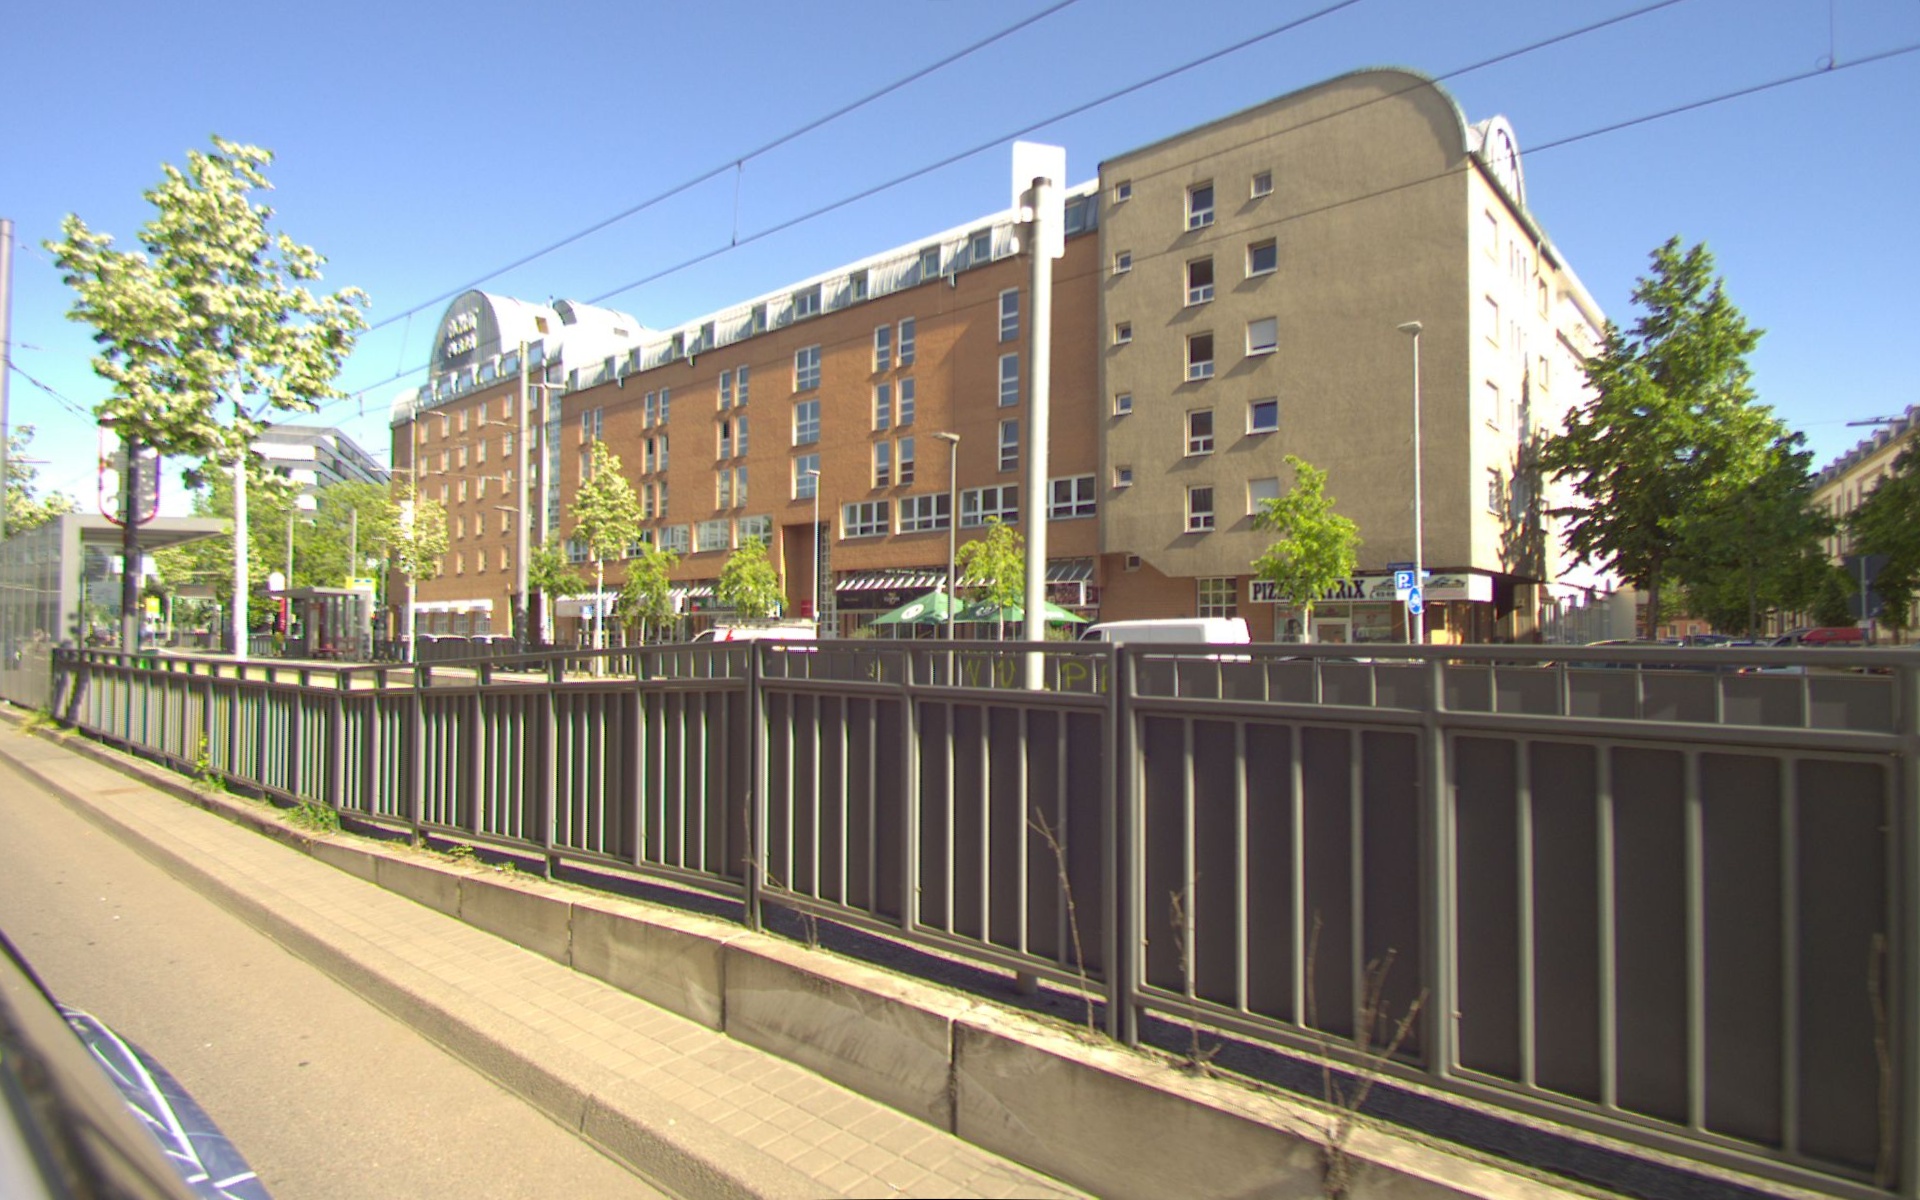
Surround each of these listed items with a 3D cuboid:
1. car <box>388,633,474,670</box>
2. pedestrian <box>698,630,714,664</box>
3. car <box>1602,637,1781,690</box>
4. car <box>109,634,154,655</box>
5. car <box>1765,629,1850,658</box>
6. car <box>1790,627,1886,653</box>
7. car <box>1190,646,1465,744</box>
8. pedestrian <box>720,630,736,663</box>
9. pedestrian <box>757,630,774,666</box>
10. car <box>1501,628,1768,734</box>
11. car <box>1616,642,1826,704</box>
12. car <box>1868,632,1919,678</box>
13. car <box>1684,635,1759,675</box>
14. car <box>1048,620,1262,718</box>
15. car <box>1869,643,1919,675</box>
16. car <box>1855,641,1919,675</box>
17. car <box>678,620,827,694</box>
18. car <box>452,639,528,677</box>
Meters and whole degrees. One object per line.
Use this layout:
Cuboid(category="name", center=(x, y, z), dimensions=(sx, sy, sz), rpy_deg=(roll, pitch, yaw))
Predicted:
Cuboid(category="car", center=(-21.101, 2.025, 40.343), dimensions=(3.957, 1.296, 1.677), rpy_deg=(-1, -1, 40))
Cuboid(category="pedestrian", center=(-14.047, 2.611, 55.947), dimensions=(0.644, 1.854, 0.614), rpy_deg=(-2, -3, 39))
Cuboid(category="car", center=(21.315, 1.820, 29.695), dimensions=(3.980, 1.462, 1.769), rpy_deg=(-1, -2, 27))
Cuboid(category="car", center=(-62.518, 3.315, 76.346), dimensions=(4.287, 1.510, 1.911), rpy_deg=(-2, -3, 42))
Cuboid(category="car", center=(63.492, 3.230, 75.949), dimensions=(4.557, 2.115, 2.024), rpy_deg=(-1, -3, 32))
Cuboid(category="car", center=(59.016, 2.689, 68.166), dimensions=(4.557, 1.745, 2.024), rpy_deg=(-1, -3, 32))
Cuboid(category="car", center=(6.009, 1.483, 16.779), dimensions=(3.957, 1.296, 1.677), rpy_deg=(-1, -1, 40))
Cuboid(category="pedestrian", center=(-12.806, 2.563, 55.901), dimensions=(0.644, 1.854, 0.614), rpy_deg=(-2, -3, 39))
Cuboid(category="pedestrian", center=(-10.159, 2.508, 52.899), dimensions=(0.644, 1.854, 0.614), rpy_deg=(-2, -3, 41))
Cuboid(category="car", center=(12.619, 1.439, 19.066), dimensions=(3.997, 1.773, 1.796), rpy_deg=(-2, -3, 40))
Cuboid(category="car", center=(19.215, 1.802, 25.796), dimensions=(3.980, 1.462, 1.769), rpy_deg=(-1, -2, 27))
Cuboid(category="car", center=(44.166, 2.460, 45.341), dimensions=(4.857, 2.022, 1.920), rpy_deg=(-1, -3, 32))
Cuboid(category="car", center=(33.699, 2.387, 44.879), dimensions=(1.947, 1.674, 3.962), rpy_deg=(-1, -2, 27))
Cuboid(category="car", center=(5.110, 1.772, 27.345), dimensions=(1.969, 2.388, 5.652), rpy_deg=(1, -2, -41))
Cuboid(category="car", center=(46.725, 2.853, 49.040), dimensions=(3.653, 1.533, 1.673), rpy_deg=(-1, -3, 32))
Cuboid(category="car", center=(47.654, 2.912, 50.896), dimensions=(3.653, 1.649, 1.673), rpy_deg=(-1, -3, 32))
Cuboid(category="car", center=(-5.641, 1.469, 27.236), dimensions=(4.086, 1.808, 1.801), rpy_deg=(-1, -1, 40))
Cuboid(category="car", center=(-23.389, 2.835, 50.339), dimensions=(3.998, 1.696, 1.973), rpy_deg=(-1, -1, 41))
